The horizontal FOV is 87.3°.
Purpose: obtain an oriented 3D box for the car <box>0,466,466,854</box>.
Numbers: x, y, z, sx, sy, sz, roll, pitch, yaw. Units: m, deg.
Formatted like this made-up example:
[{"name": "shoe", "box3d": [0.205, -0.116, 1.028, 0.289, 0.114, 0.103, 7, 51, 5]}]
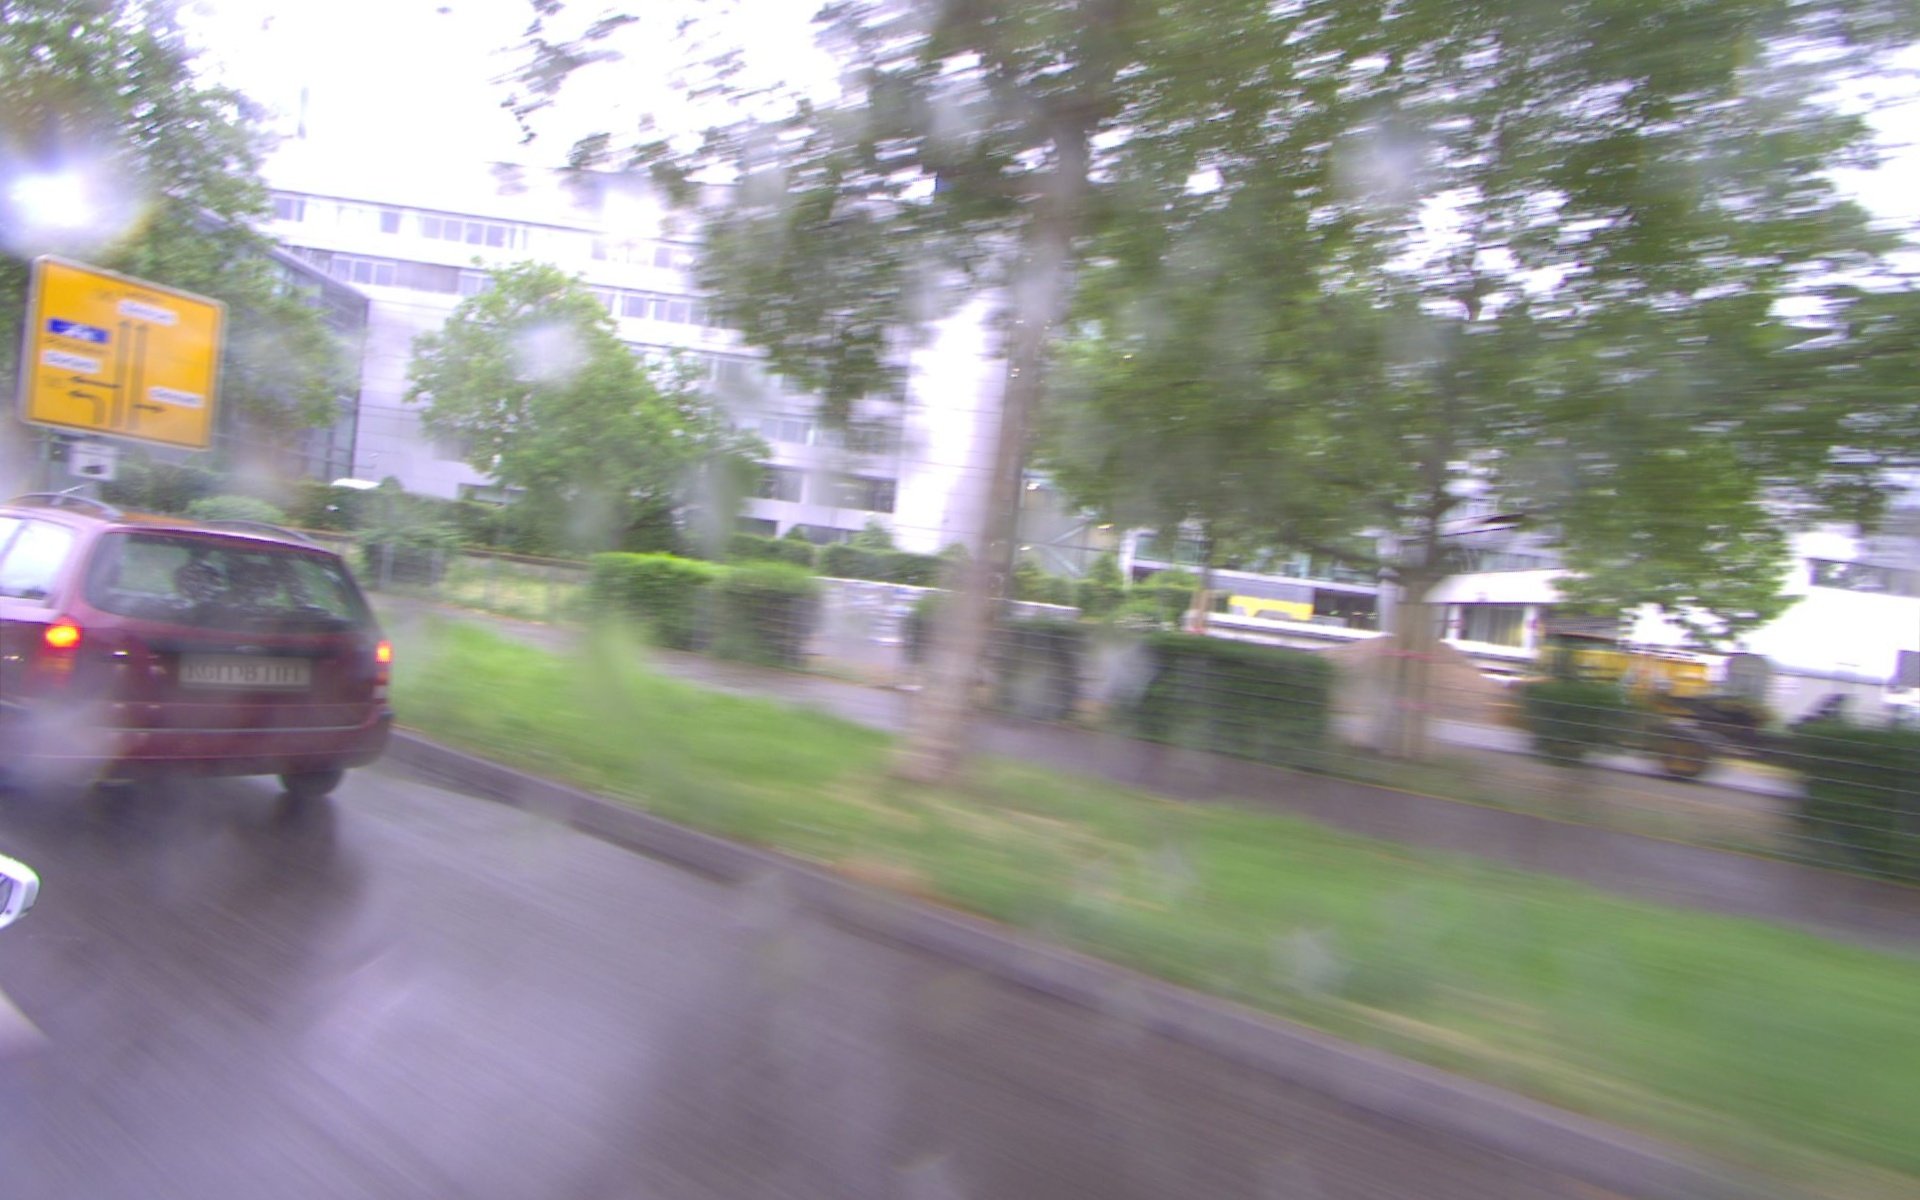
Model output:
[{"name": "car", "box3d": [-4.991, 0.162, 5.890, 4.045, 1.555, 1.842, 6, -2, 33]}]
